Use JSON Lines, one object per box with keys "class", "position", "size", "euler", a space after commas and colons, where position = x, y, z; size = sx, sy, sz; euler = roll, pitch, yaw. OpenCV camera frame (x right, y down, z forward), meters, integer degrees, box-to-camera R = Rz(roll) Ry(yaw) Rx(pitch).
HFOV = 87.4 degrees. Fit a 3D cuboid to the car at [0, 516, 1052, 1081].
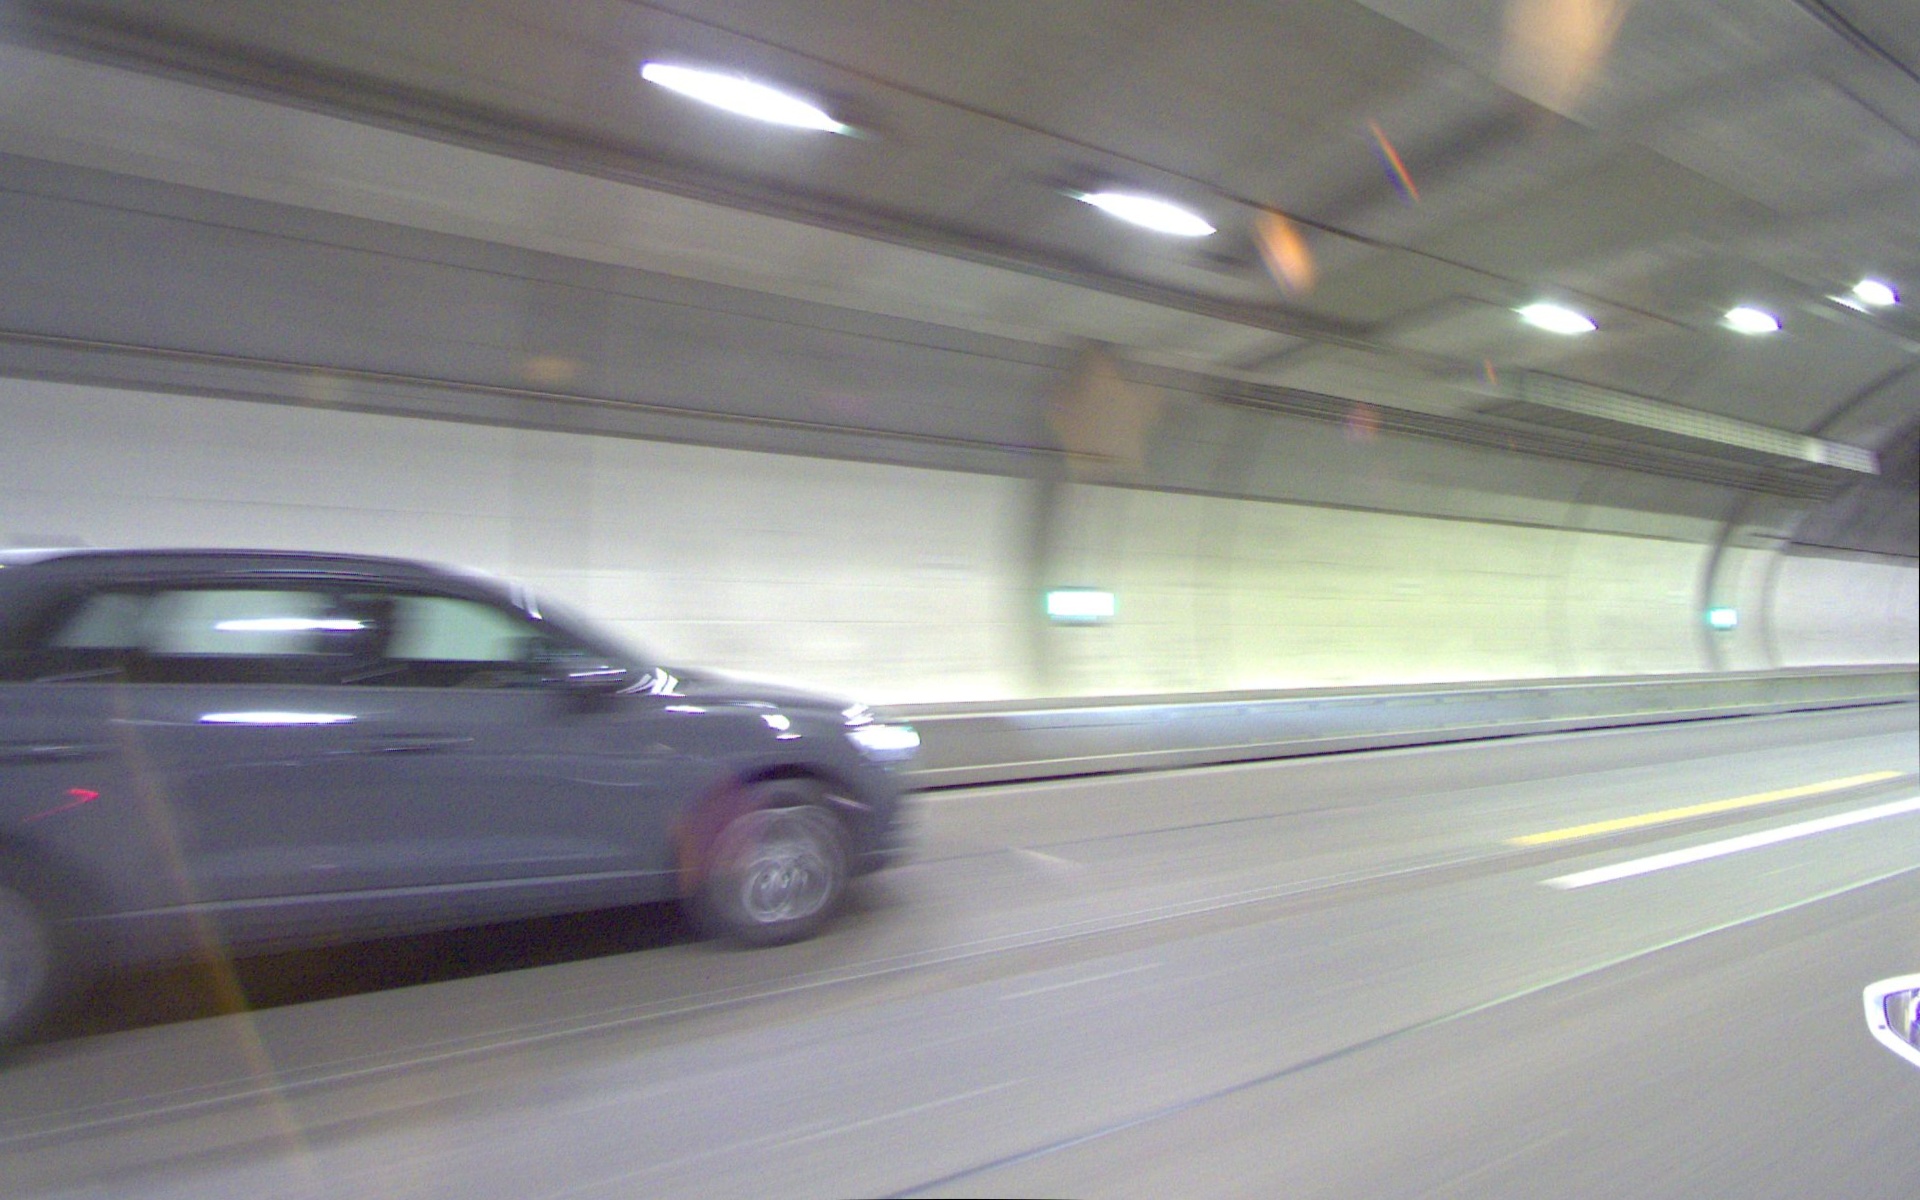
{"class": "car", "position": [-2.100, 0.580, 4.254], "size": [4.687, 1.561, 1.984], "euler": [2, -1, -31]}
